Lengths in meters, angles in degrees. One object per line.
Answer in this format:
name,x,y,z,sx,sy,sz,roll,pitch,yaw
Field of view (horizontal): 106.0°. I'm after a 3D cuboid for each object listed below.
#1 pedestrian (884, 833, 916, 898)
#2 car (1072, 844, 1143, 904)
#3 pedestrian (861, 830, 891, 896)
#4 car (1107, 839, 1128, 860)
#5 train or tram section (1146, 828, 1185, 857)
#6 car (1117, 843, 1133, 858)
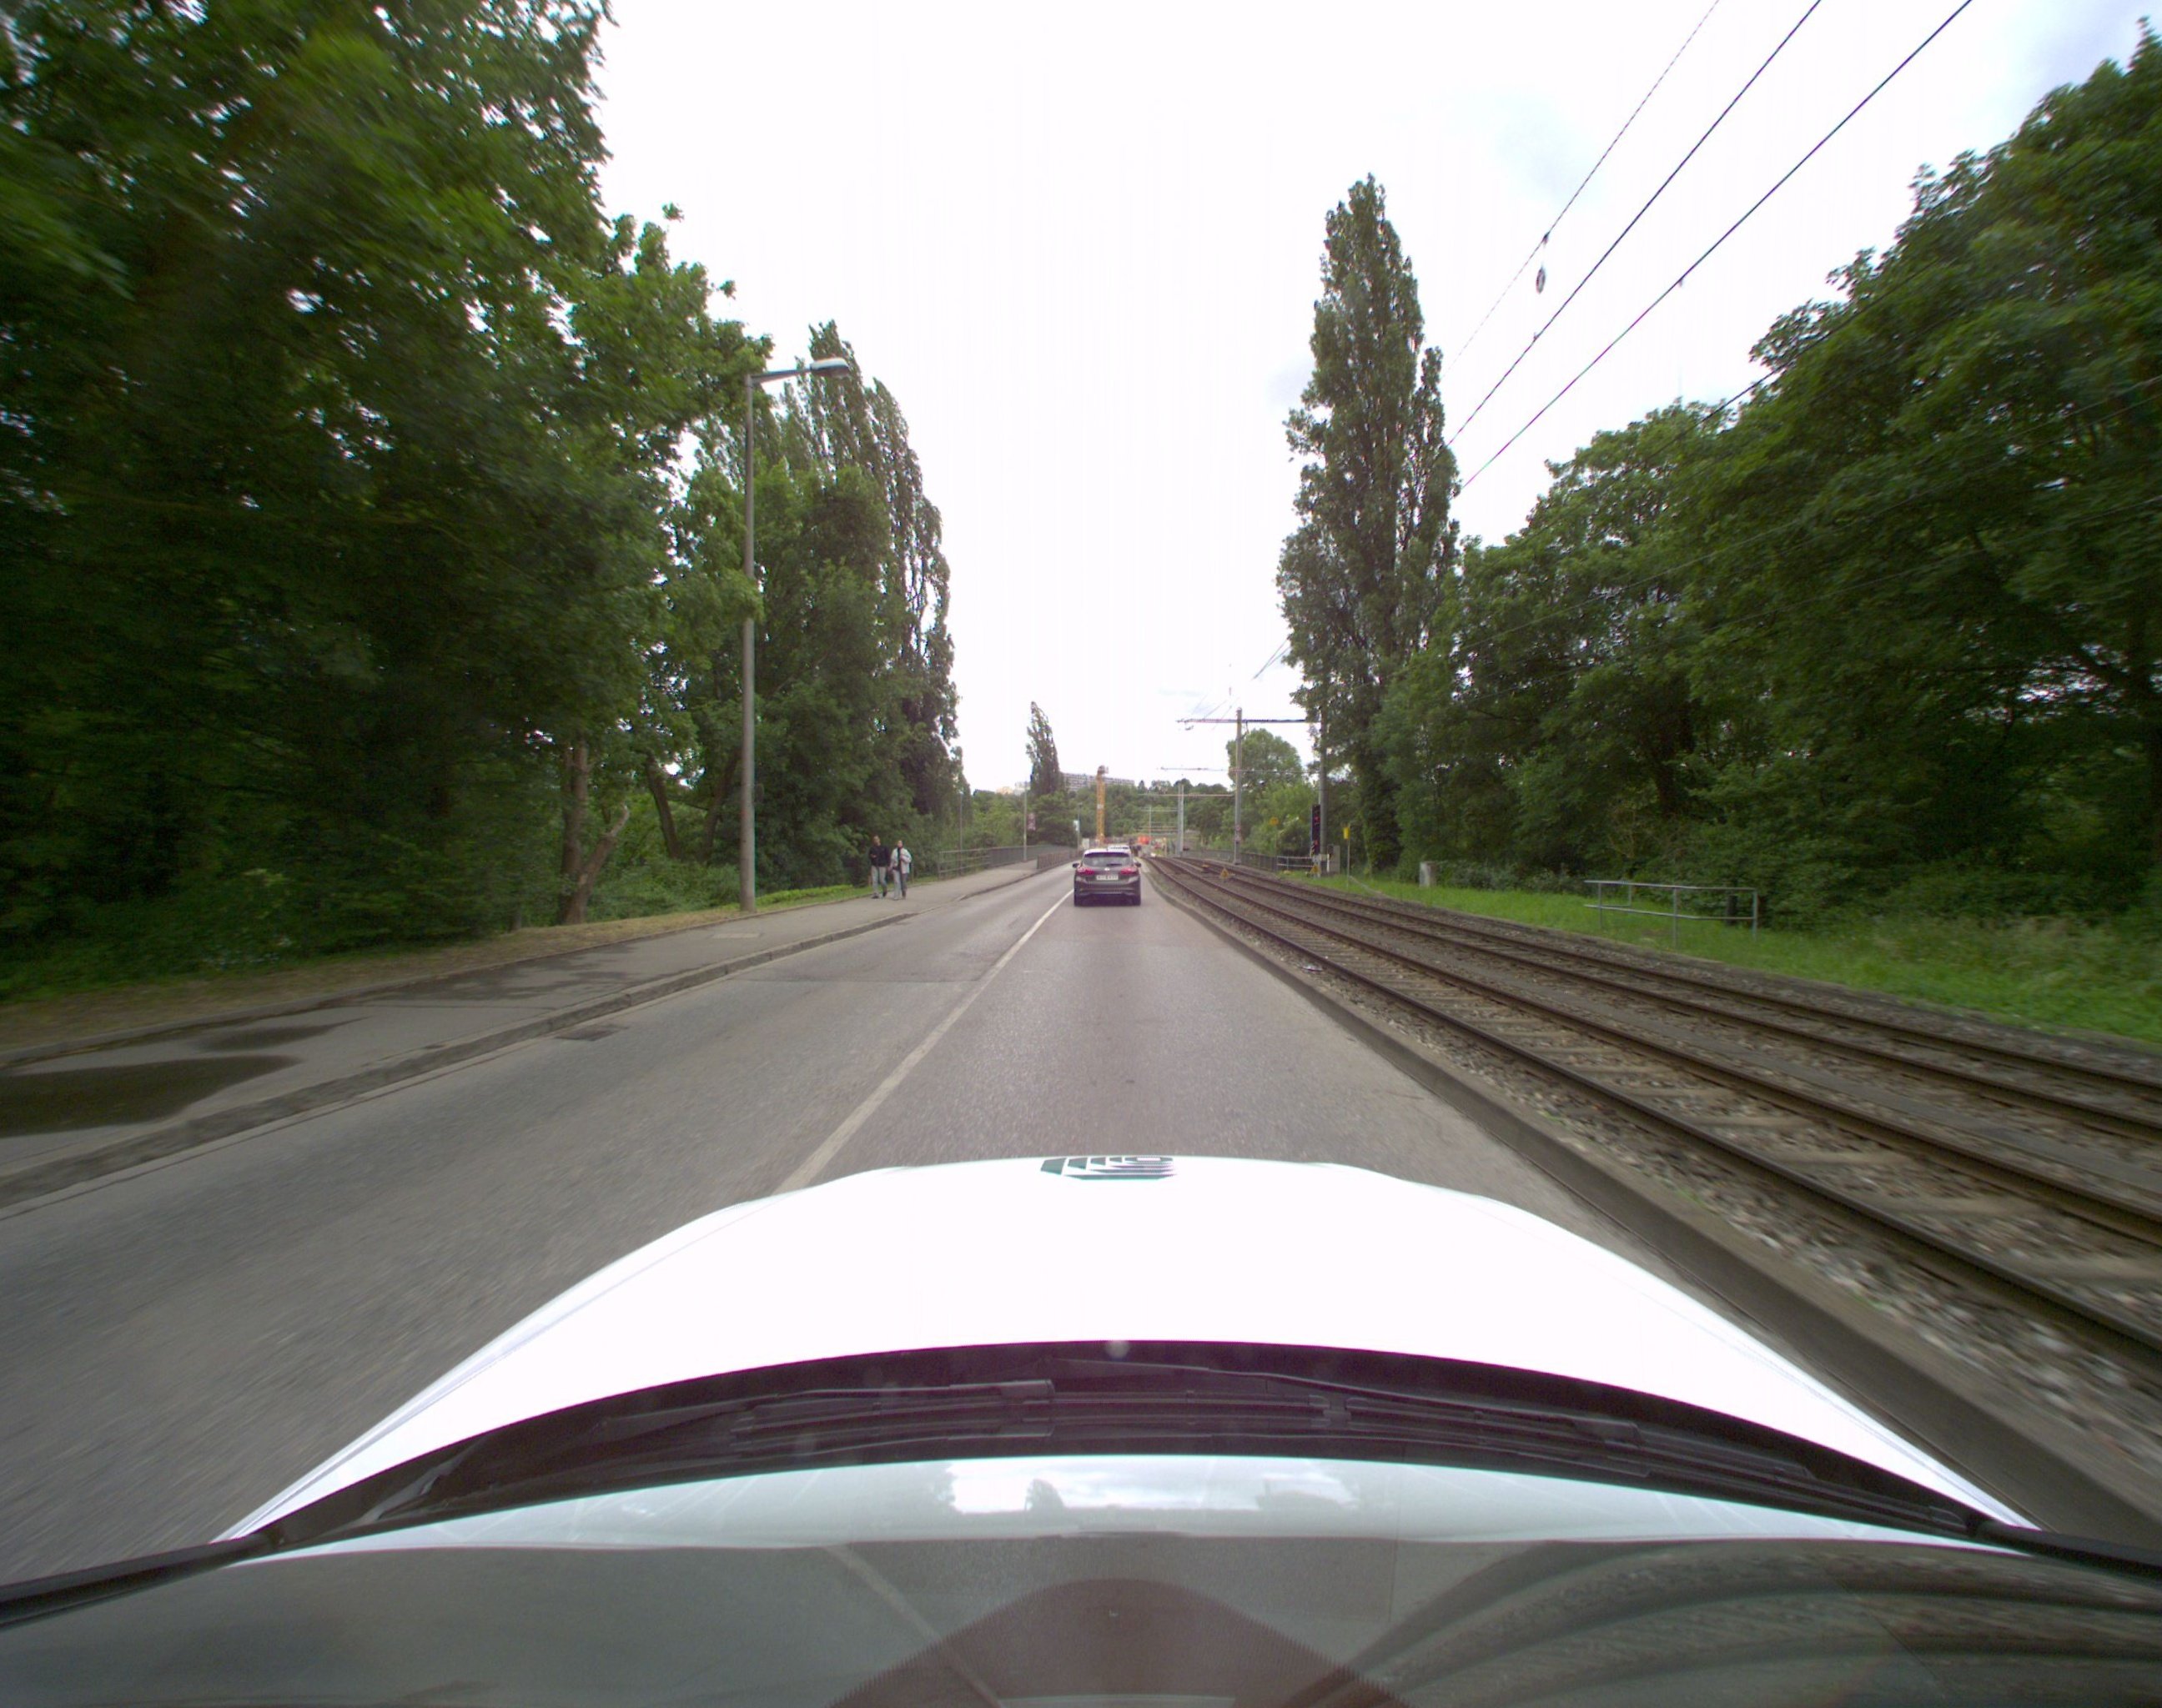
pedestrian,-5.109,0.310,23.015,0.549,1.765,0.858,4,1,1
car,0.669,0.519,22.701,1.824,1.510,3.999,0,0,0
pedestrian,-5.783,0.249,22.995,0.585,1.803,0.823,2,1,1
car,3.093,-0.394,68.802,1.673,1.606,4.312,2,1,2
train or tram section,17.211,-2.238,168.797,3.024,5.182,23.001,2,-1,-6
car,4.934,-0.401,90.558,1.673,1.606,4.314,1,1,3
